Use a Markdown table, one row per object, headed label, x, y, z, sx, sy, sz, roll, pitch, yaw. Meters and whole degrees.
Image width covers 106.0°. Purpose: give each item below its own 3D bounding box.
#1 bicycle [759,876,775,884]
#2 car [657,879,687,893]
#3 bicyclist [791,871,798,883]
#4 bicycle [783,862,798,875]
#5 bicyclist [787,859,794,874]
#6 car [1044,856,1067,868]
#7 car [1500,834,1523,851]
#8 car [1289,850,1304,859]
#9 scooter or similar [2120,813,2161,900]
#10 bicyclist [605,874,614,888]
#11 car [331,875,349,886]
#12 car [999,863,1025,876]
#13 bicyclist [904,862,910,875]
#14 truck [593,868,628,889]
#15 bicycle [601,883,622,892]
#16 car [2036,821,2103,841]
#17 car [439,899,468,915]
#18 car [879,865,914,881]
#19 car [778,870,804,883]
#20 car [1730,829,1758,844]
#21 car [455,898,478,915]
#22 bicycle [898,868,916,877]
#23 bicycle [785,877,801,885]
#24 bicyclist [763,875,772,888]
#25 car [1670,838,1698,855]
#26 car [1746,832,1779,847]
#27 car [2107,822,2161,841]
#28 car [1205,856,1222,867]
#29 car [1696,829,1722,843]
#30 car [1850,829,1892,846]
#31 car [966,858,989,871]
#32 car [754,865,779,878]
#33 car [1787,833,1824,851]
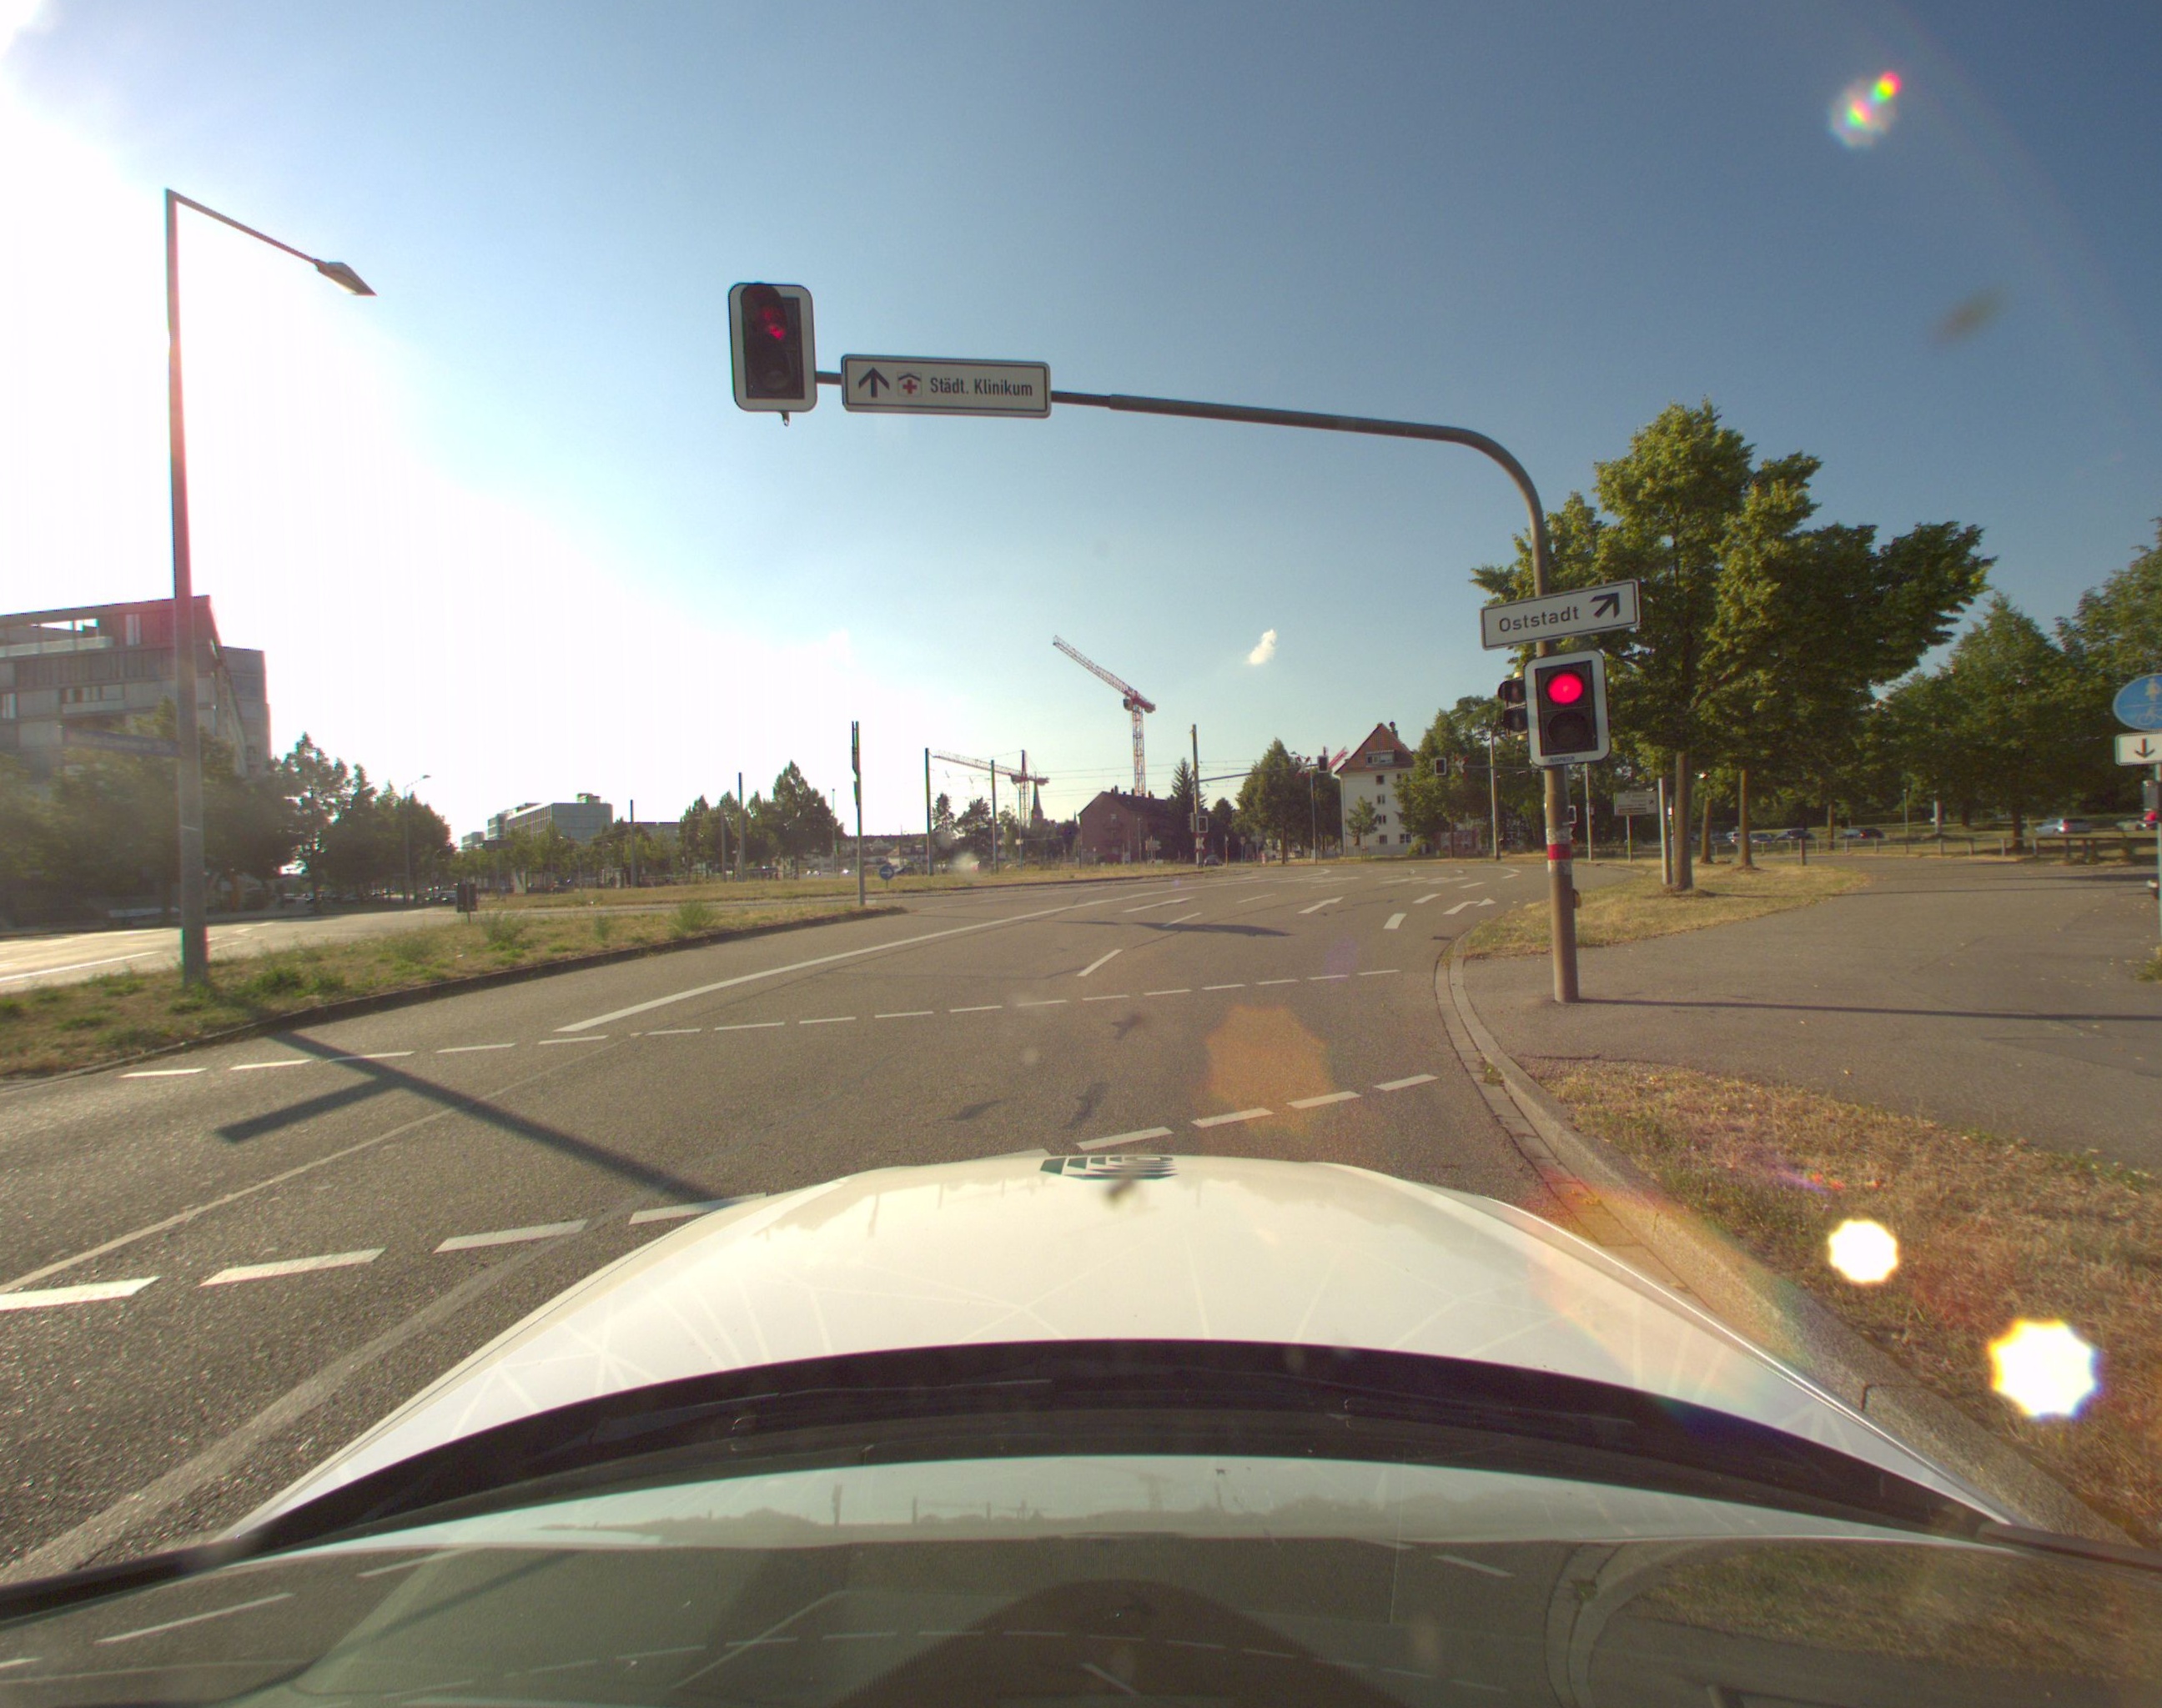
| label | x | y | z | sx | sy | sz | roll | pitch | yaw |
| --- | --- | --- | --- | --- | --- | --- | --- | --- | --- |
| bicycle | -35.665 | 2.932 | 92.424 | 1.622 | 0.860 | 0.541 | -2 | 0 | -24 |
| car | -43.266 | 3.361 | 86.066 | 2.685 | 1.261 | 1.102 | -2 | 0 | -34 |
| bicyclist | -33.145 | 2.672 | 94.166 | 0.655 | 1.325 | 0.515 | -2 | 0 | -24 |
| bicycle | -33.199 | 1.679 | 93.087 | 1.546 | 1.473 | 0.476 | -2 | 0 | -23 |
| bicyclist | -33.189 | 1.394 | 93.064 | 0.609 | 1.672 | 0.474 | -2 | -1 | -23 |
| car | -4.757 | 1.429 | 149.781 | 3.776 | 2.014 | 1.680 | -3 | -1 | 20 |
| car | 42.990 | -1.134 | 81.246 | 1.754 | 1.618 | 3.993 | -3 | -1 | 30 |
| car | 41.540 | 0.132 | 157.070 | 1.975 | 1.780 | 4.023 | -1 | -1 | 26 |
| scooter or similar | 15.382 | 0.014 | 11.582 | 1.172 | 1.160 | 0.340 | -4 | -3 | -23 |
| bicyclist | -47.086 | 2.688 | 81.317 | 0.658 | 1.325 | 0.512 | -2 | 0 | -45 |
| car | -110.479 | 3.917 | 121.337 | 1.800 | 1.556 | 3.950 | 0 | -1 | -45 |
| car | -11.209 | 2.582 | 132.971 | 3.776 | 2.014 | 1.680 | -3 | -1 | 20 |
| bicyclist | -20.460 | 1.702 | 95.737 | 0.621 | 1.511 | 0.418 | -2 | 0 | -4 |
| truck | -76.252 | 3.939 | 131.962 | 3.156 | 3.231 | 7.085 | -2 | 0 | -44 |
| bicycle | -46.924 | 3.326 | 81.432 | 1.731 | 0.744 | 0.475 | -2 | 0 | -44 |
| car | 78.203 | -1.783 | 64.492 | 1.804 | 1.403 | 4.023 | -3 | -1 | 26 |
| car | -65.259 | 5.461 | 84.669 | 2.011 | 1.475 | 3.952 | -2 | 0 | -42 |
| car | -23.937 | 2.476 | 105.692 | 4.013 | 1.816 | 1.981 | -2 | 0 | -30 |
| car | -47.000 | 3.685 | 131.939 | 3.948 | 2.013 | 2.013 | -3 | 0 | 36 |
| car | 67.357 | -1.725 | 82.789 | 1.586 | 1.402 | 3.993 | -3 | -1 | 30 |
| car | -58.571 | 4.956 | 77.619 | 1.493 | 1.475 | 3.260 | -2 | 0 | -42 |
| bicycle | -20.405 | 2.145 | 95.740 | 1.983 | 0.918 | 0.429 | -2 | 0 | -4 |
| bicycle | -33.267 | 3.125 | 94.091 | 1.724 | 0.744 | 0.477 | -2 | 0 | -24 |
| bicyclist | -35.600 | 3.119 | 92.466 | 0.958 | 1.357 | 0.688 | -2 | 0 | -25 |
| car | 56.003 | -0.702 | 75.661 | 1.586 | 1.402 | 3.993 | -3 | -1 | 30 |
| car | 61.420 | -1.271 | 73.486 | 1.586 | 1.221 | 3.993 | -3 | -1 | 30 |
| car | 82.423 | -1.754 | 63.241 | 1.804 | 1.403 | 4.023 | -3 | -1 | 26 |
| car | 17.245 | 0.990 | 105.888 | 1.443 | 1.300 | 3.566 | -3 | 0 | 19 |
| car | 64.683 | -1.839 | 83.899 | 1.586 | 1.402 | 3.993 | -3 | -1 | 30 |
| car | 67.171 | -1.396 | 69.265 | 1.586 | 1.310 | 3.993 | -3 | -1 | 30 |
| car | -14.838 | 1.522 | 116.700 | 1.930 | 1.854 | 3.964 | -2 | 0 | -27 |
| car | -53.002 | 2.929 | 137.354 | 3.948 | 2.013 | 2.013 | -3 | 0 | 36 |
| car | 63.356 | -1.026 | 71.293 | 1.586 | 1.402 | 3.993 | -3 | -1 | 30 |
